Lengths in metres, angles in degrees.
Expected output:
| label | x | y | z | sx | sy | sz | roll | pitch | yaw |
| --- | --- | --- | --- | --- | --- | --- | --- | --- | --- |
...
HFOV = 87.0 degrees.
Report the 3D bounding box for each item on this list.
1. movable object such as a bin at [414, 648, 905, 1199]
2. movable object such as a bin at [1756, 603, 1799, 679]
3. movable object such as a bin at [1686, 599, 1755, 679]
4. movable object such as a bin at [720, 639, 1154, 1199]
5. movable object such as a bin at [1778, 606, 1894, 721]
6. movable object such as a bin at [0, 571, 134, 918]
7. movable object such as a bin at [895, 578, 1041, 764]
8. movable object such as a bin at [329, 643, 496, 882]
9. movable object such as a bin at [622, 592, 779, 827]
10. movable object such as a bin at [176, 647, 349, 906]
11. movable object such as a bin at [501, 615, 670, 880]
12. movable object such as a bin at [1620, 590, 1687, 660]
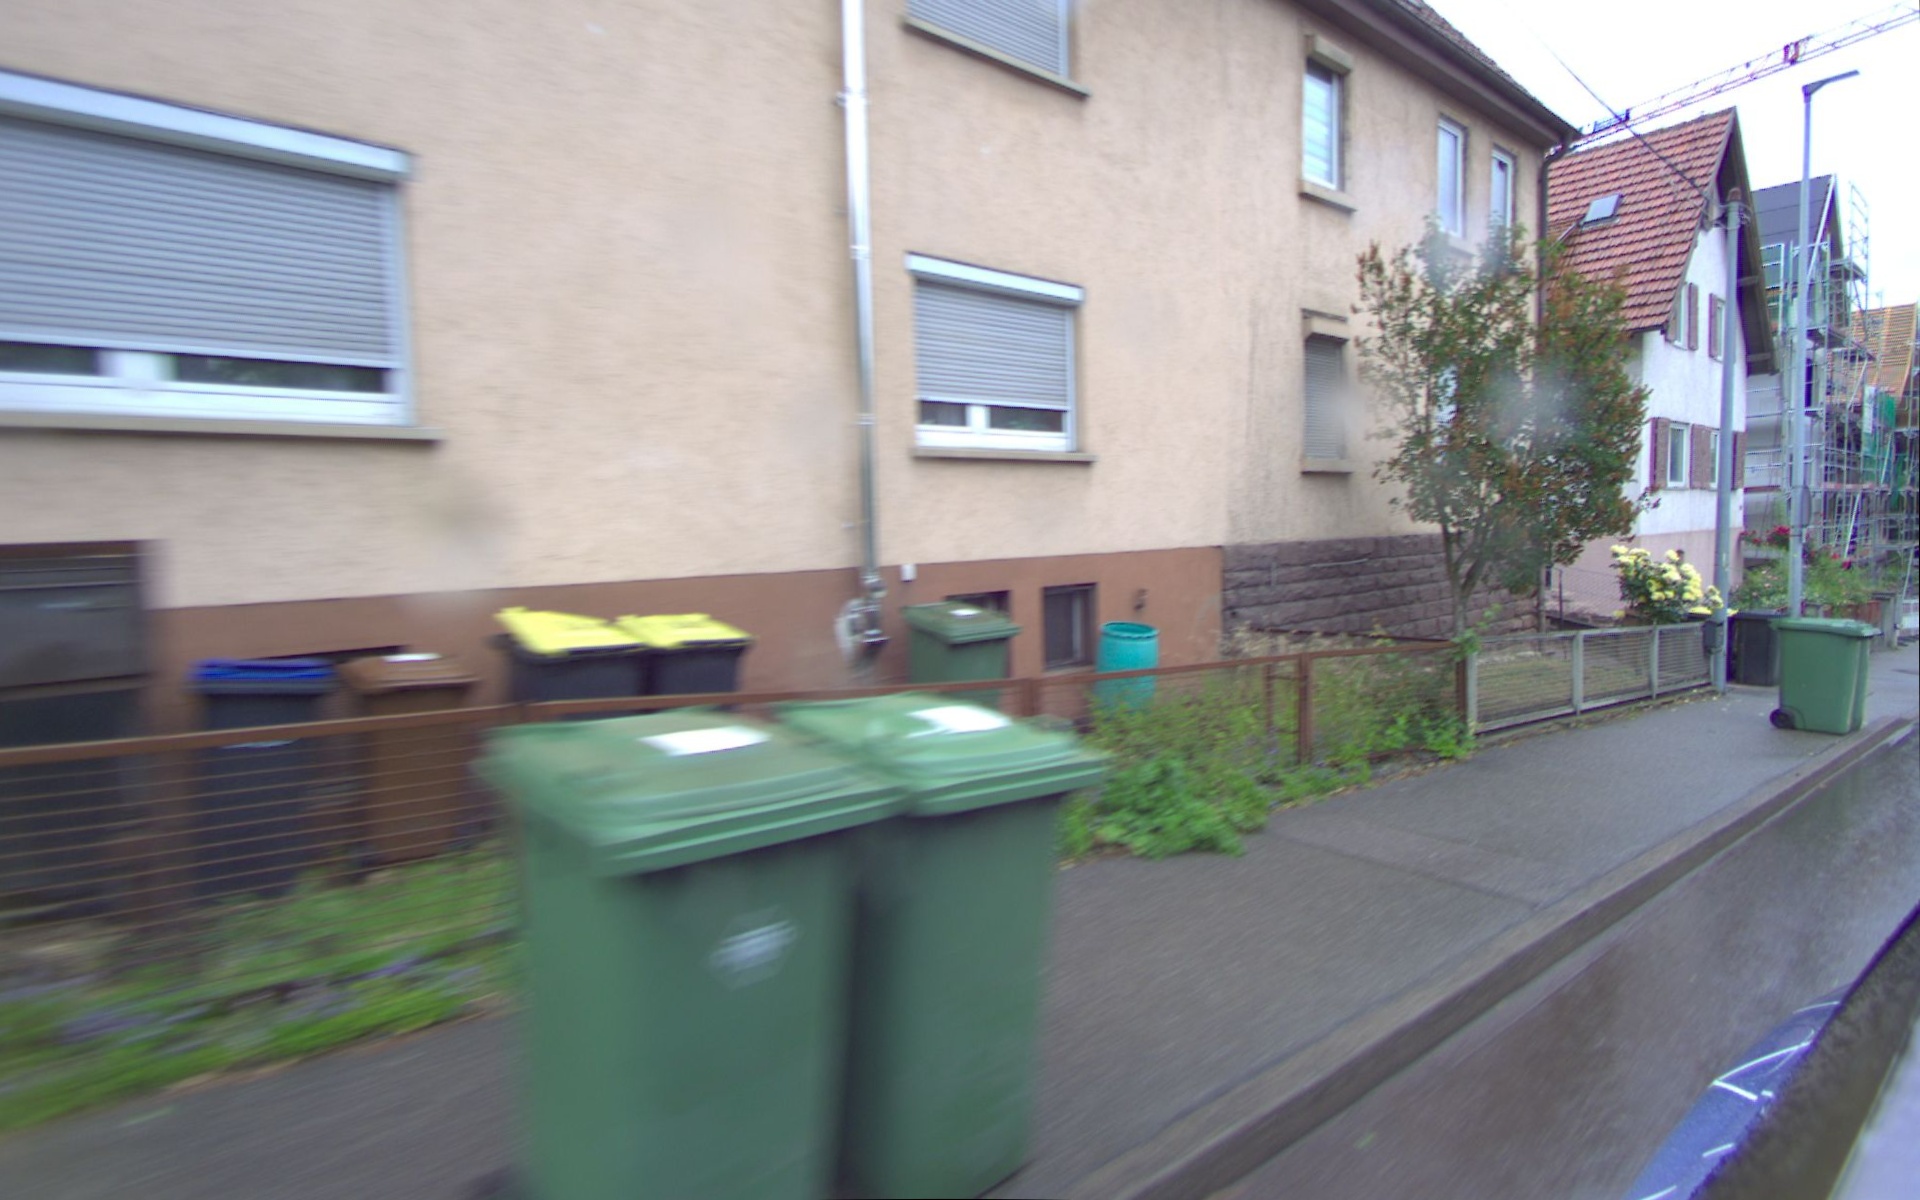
| label | x | y | z | sx | sy | sz | roll | pitch | yaw |
| --- | --- | --- | --- | --- | --- | --- | --- | --- | --- |
| movable object such as a bin | -0.657 | 0.698 | 2.089 | 0.689 | 1.117 | 0.916 | 0 | 1 | -38 |
| movable object such as a bin | 11.492 | 0.564 | 14.225 | 0.479 | 1.031 | 0.380 | 0 | 1 | -40 |
| movable object such as a bin | 11.193 | 0.559 | 14.891 | 0.779 | 1.089 | 0.610 | 0 | 5 | -43 |
| movable object such as a bin | -0.091 | 0.691 | 2.556 | 0.689 | 1.117 | 0.916 | 0 | 1 | -38 |
| movable object such as a bin | 8.730 | 0.604 | 10.088 | 0.785 | 1.065 | 0.722 | 0 | 1 | -38 |
| movable object such as a bin | -3.334 | 0.475 | 3.636 | 0.536 | 1.106 | 0.662 | 0 | 5 | -42 |
| movable object such as a bin | 0.049 | 0.429 | 6.663 | 0.644 | 1.106 | 0.661 | 0 | 5 | -42 |
| movable object such as a bin | -2.447 | 0.674 | 4.509 | 0.527 | 0.906 | 0.671 | 0 | 1 | -41 |
| movable object such as a bin | -1.389 | 0.540 | 5.389 | 0.536 | 1.106 | 0.646 | 0 | 5 | -42 |
| movable object such as a bin | -2.892 | 0.678 | 4.188 | 0.527 | 0.906 | 0.639 | 0 | 1 | -41 |
| movable object such as a bin | -1.823 | 0.664 | 4.905 | 0.536 | 1.106 | 0.662 | 0 | 5 | -42 |
| movable object such as a bin | 10.780 | 0.370 | 15.729 | 0.779 | 0.978 | 0.611 | 0 | 7 | -43 |
